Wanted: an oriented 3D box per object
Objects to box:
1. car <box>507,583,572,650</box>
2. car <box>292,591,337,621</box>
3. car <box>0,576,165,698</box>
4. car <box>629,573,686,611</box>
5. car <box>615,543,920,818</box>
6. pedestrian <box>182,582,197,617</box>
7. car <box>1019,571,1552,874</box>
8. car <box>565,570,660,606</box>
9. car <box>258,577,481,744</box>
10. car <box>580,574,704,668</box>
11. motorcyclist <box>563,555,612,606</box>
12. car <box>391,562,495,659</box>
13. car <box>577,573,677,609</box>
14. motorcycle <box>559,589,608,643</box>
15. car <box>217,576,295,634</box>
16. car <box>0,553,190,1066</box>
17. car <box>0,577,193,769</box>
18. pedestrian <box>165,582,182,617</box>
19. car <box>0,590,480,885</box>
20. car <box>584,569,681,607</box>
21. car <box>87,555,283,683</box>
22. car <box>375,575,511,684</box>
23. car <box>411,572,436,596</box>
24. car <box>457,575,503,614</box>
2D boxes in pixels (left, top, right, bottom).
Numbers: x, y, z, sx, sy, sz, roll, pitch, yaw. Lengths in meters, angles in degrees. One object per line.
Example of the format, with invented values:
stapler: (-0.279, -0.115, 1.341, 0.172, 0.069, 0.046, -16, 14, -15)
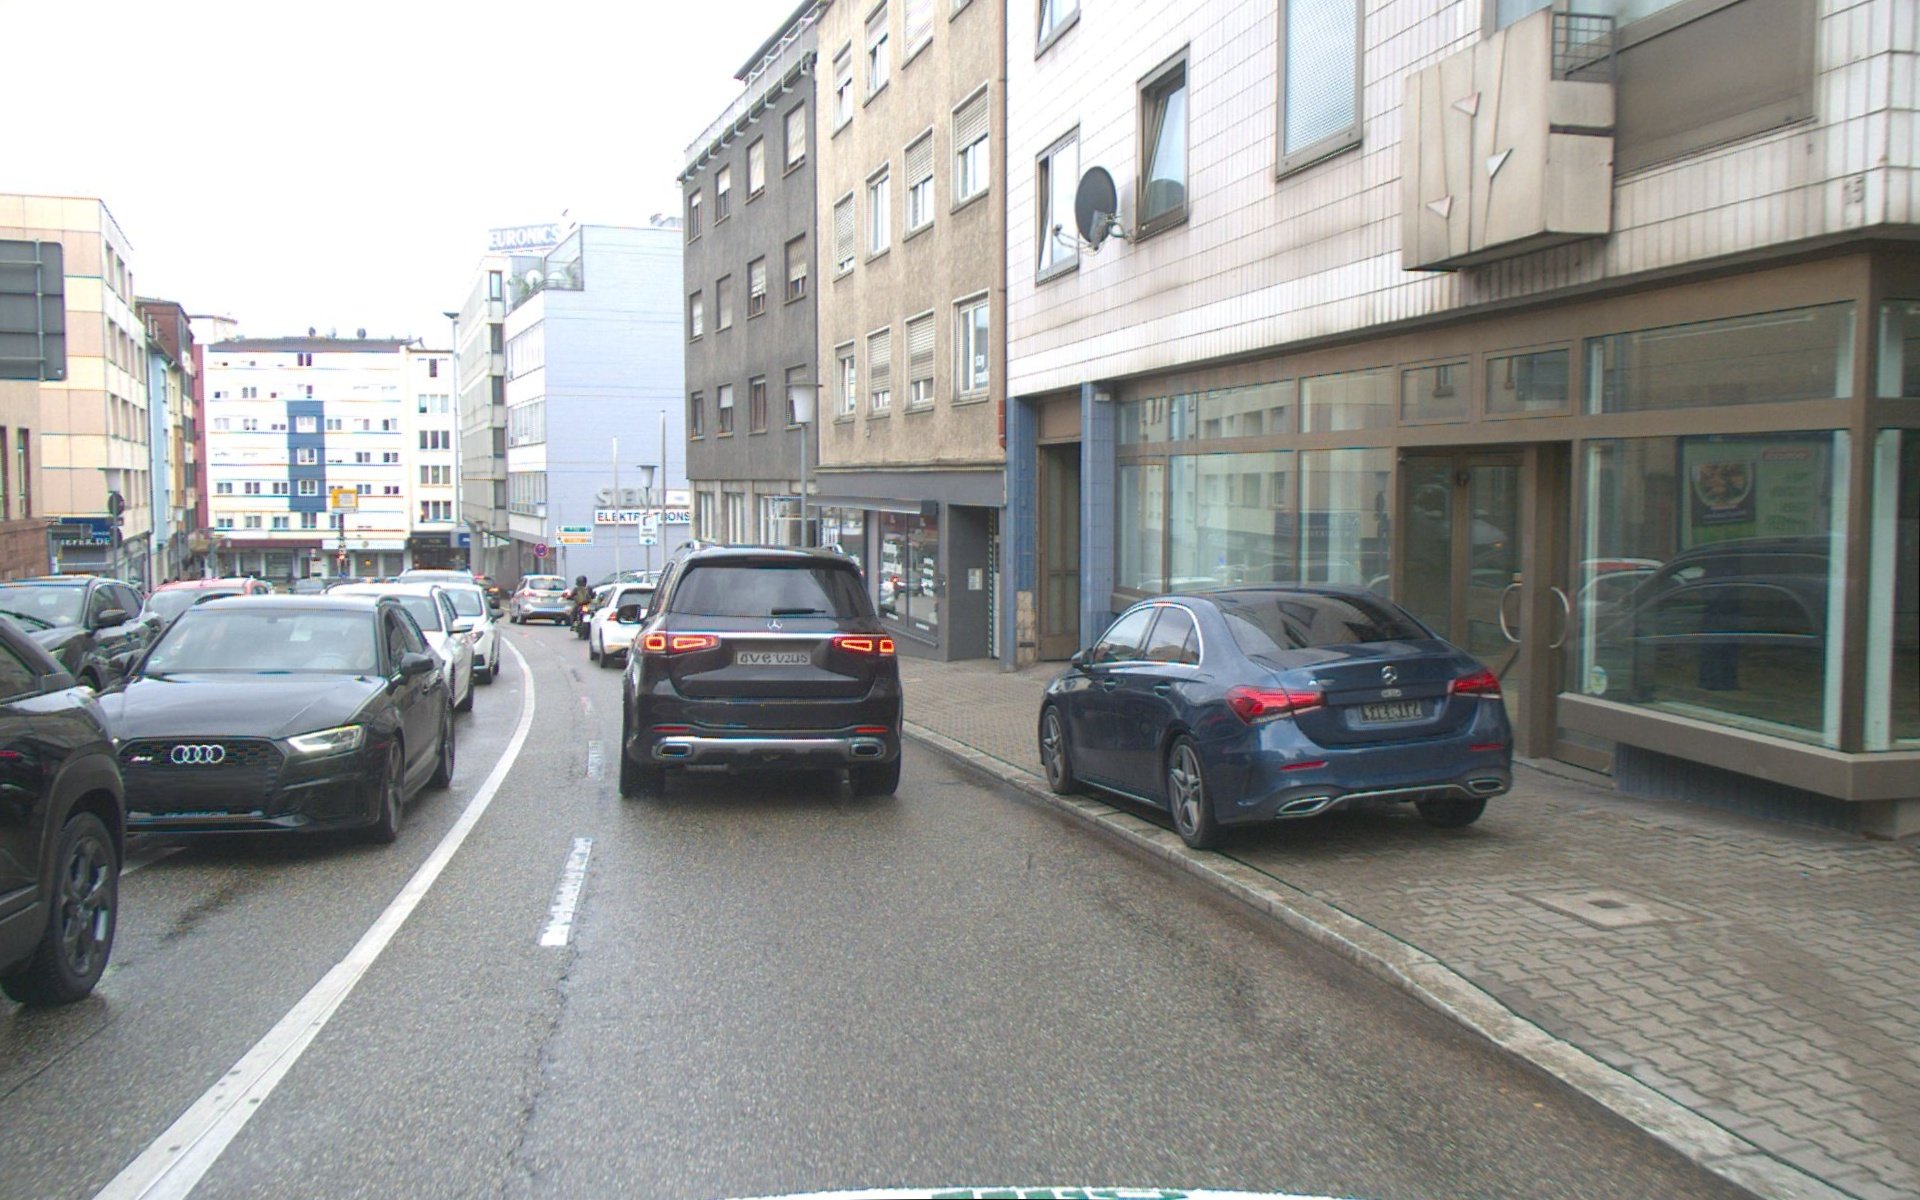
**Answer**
car: (-13.725, 0.494, 53.874, 1.727, 1.810, 3.556, 0, 5, -20)
car: (-33.444, 0.285, 85.785, 1.670, 1.506, 4.273, 1, 0, -15)
car: (-14.998, 0.580, 28.442, 1.700, 1.861, 4.041, -3, 1, -17)
car: (-12.425, -0.331, 67.763, 1.543, 1.503, 4.043, 0, 1, -22)
car: (-1.684, 0.483, 13.147, 1.984, 1.769, 4.735, 0, 1, -11)
pedestrian: (-38.629, -0.043, 82.917, 0.663, 1.680, 0.601, -1, 5, -25)
car: (1.762, 0.595, 10.545, 1.733, 1.416, 4.366, -3, 1, -12)
car: (-15.992, -0.530, 76.173, 3.964, 1.625, 1.772, 1, -1, -41)
car: (-6.267, 0.554, 18.016, 1.776, 1.547, 4.545, -1, 0, -14)
car: (-5.877, 0.342, 30.189, 1.801, 1.487, 4.360, -3, 1, -16)
motorcyclist: (-9.391, -0.513, 41.584, 0.855, 1.075, 2.923, 0, 5, -20)
car: (-10.024, 0.185, 32.308, 1.777, 1.735, 4.542, 1, 0, -16)
car: (-14.316, -0.366, 71.211, 3.964, 1.521, 1.707, 1, -1, -41)
motorcycle: (-9.483, 0.383, 41.609, 0.855, 1.075, 2.923, 0, 5, -20)
car: (-21.747, 0.132, 51.218, 1.629, 1.638, 3.912, -3, 1, -15)
car: (-3.760, 0.650, 4.490, 1.785, 1.564, 4.371, -1, 0, -8)
car: (-9.208, 0.665, 16.592, 1.776, 1.659, 4.328, -3, 1, -13)
pedestrian: (-39.264, -0.025, 82.624, 0.730, 1.680, 0.601, -1, 5, -25)
car: (-4.267, 0.671, 10.554, 1.773, 1.439, 4.369, -1, 0, -9)
car: (-14.650, -0.521, 74.040, 3.964, 1.625, 1.772, 1, -1, -41)
car: (-10.652, 0.221, 23.016, 1.712, 1.542, 4.113, -3, 1, -15)
car: (-7.838, 0.413, 25.372, 1.669, 1.506, 4.276, 1, 0, -14)
car: (-36.192, -1.072, 111.526, 1.500, 1.575, 3.090, 0, 2, -20)
car: (-20.346, -0.261, 70.028, 1.502, 1.575, 3.085, -1, 2, -24)
